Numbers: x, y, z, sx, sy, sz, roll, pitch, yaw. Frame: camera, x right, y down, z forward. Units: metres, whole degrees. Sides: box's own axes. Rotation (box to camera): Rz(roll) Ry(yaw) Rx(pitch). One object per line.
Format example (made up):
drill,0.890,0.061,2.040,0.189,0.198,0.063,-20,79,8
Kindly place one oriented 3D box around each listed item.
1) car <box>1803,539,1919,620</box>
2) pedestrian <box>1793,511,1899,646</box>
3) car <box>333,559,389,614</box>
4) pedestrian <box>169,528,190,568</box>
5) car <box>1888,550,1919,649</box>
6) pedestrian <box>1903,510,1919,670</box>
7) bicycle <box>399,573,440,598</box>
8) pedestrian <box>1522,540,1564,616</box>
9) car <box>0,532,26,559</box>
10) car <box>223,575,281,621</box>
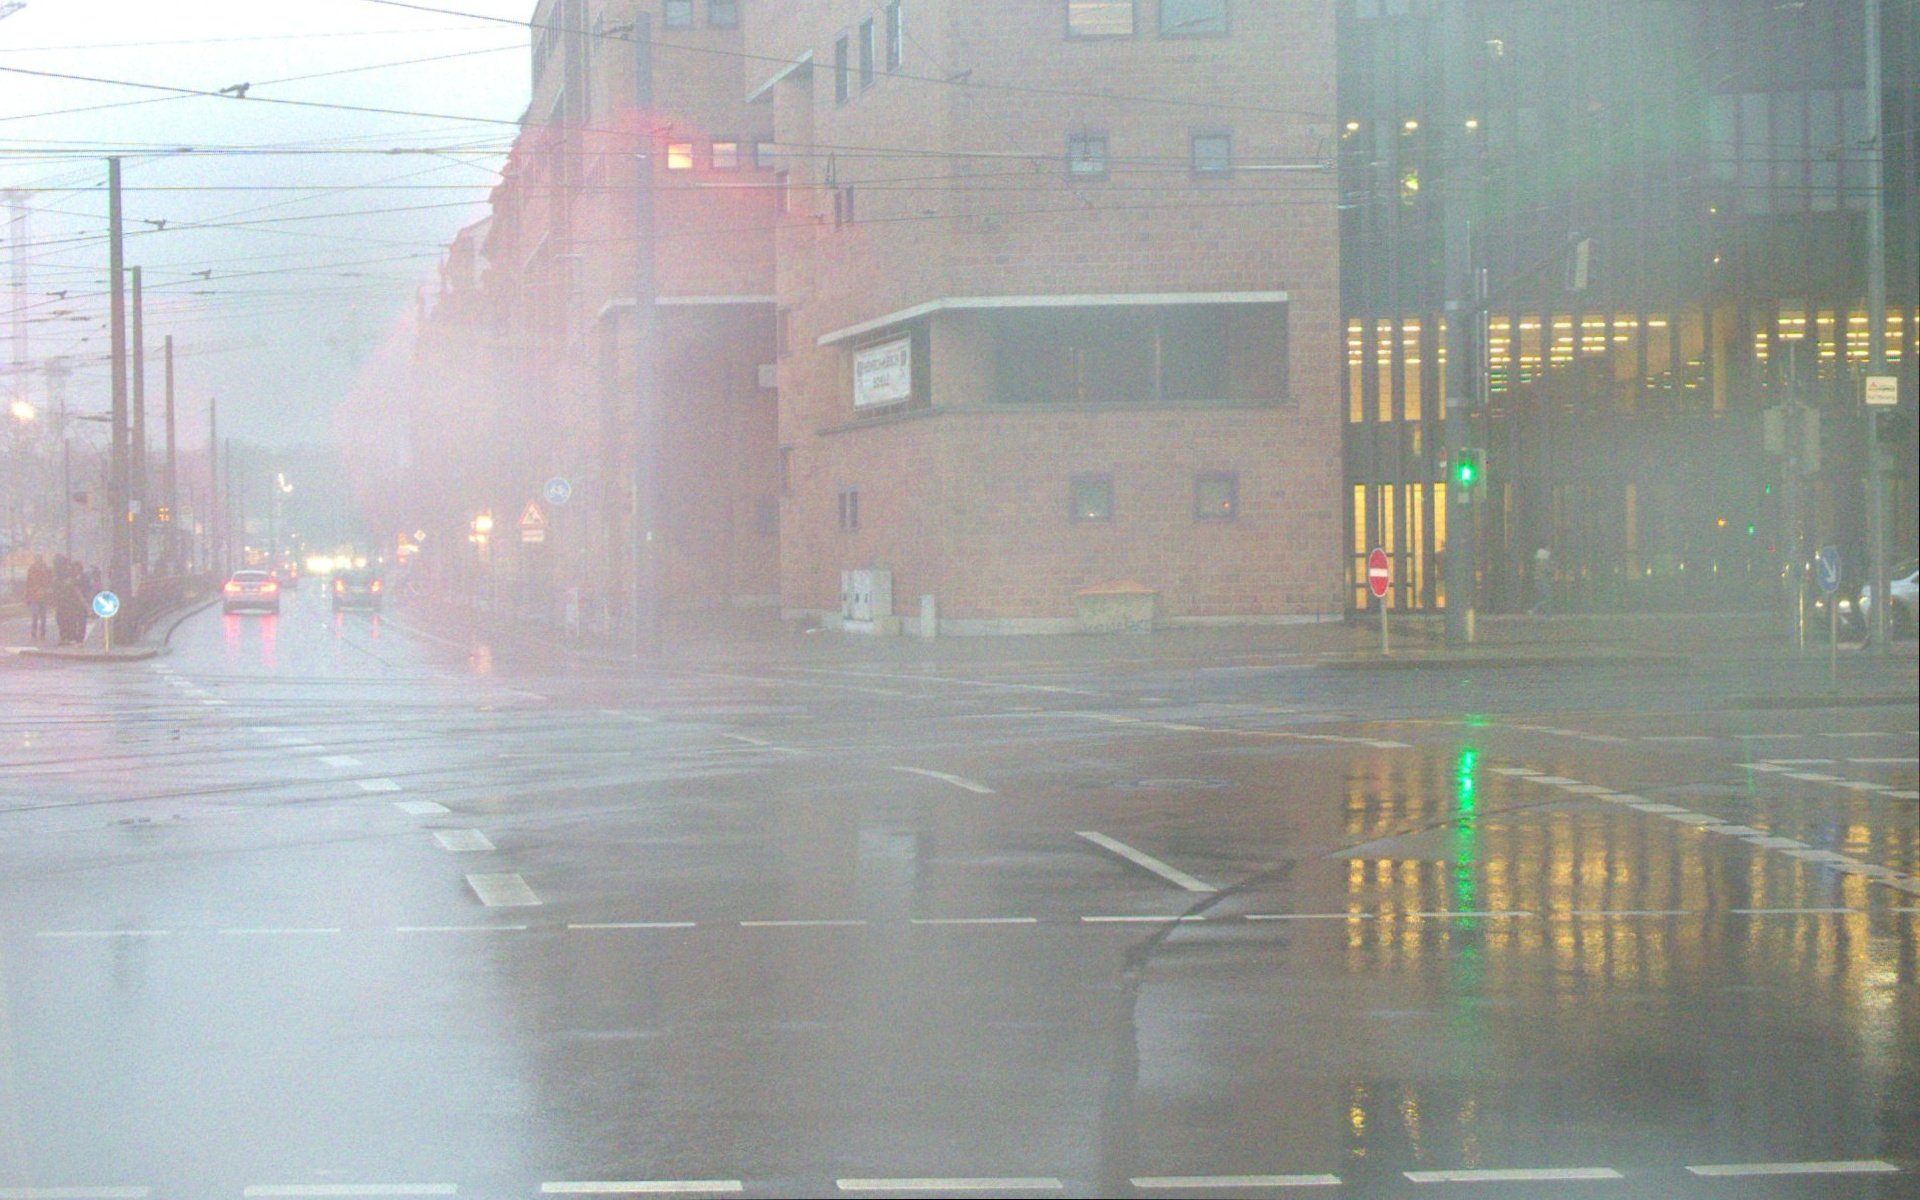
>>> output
car,16.117,-0.356,56.566,3.980,1.305,1.815,-1,1,-8
pedestrian,11.972,-0.297,46.493,1.148,1.781,0.778,-1,1,-10
car,-22.564,-0.518,129.568,1.993,2.007,4.001,-1,1,-9
pedestrian,-29.075,-1.941,128.056,0.679,1.511,0.619,0,1,-23
car,15.089,-0.083,47.420,3.980,1.336,1.815,-2,1,-8
pedestrian,11.059,-0.115,38.371,0.733,1.781,0.735,-1,1,-14
bicycle,-23.994,-0.647,152.548,1.729,1.051,0.371,-2,1,-12
pedestrian,10.750,-0.404,63.381,0.737,1.384,0.737,-1,1,11
car,-48.868,-2.771,176.228,1.681,1.349,3.547,0,0,-12
car,-24.128,-0.078,117.221,1.783,1.462,3.149,-1,1,-9
